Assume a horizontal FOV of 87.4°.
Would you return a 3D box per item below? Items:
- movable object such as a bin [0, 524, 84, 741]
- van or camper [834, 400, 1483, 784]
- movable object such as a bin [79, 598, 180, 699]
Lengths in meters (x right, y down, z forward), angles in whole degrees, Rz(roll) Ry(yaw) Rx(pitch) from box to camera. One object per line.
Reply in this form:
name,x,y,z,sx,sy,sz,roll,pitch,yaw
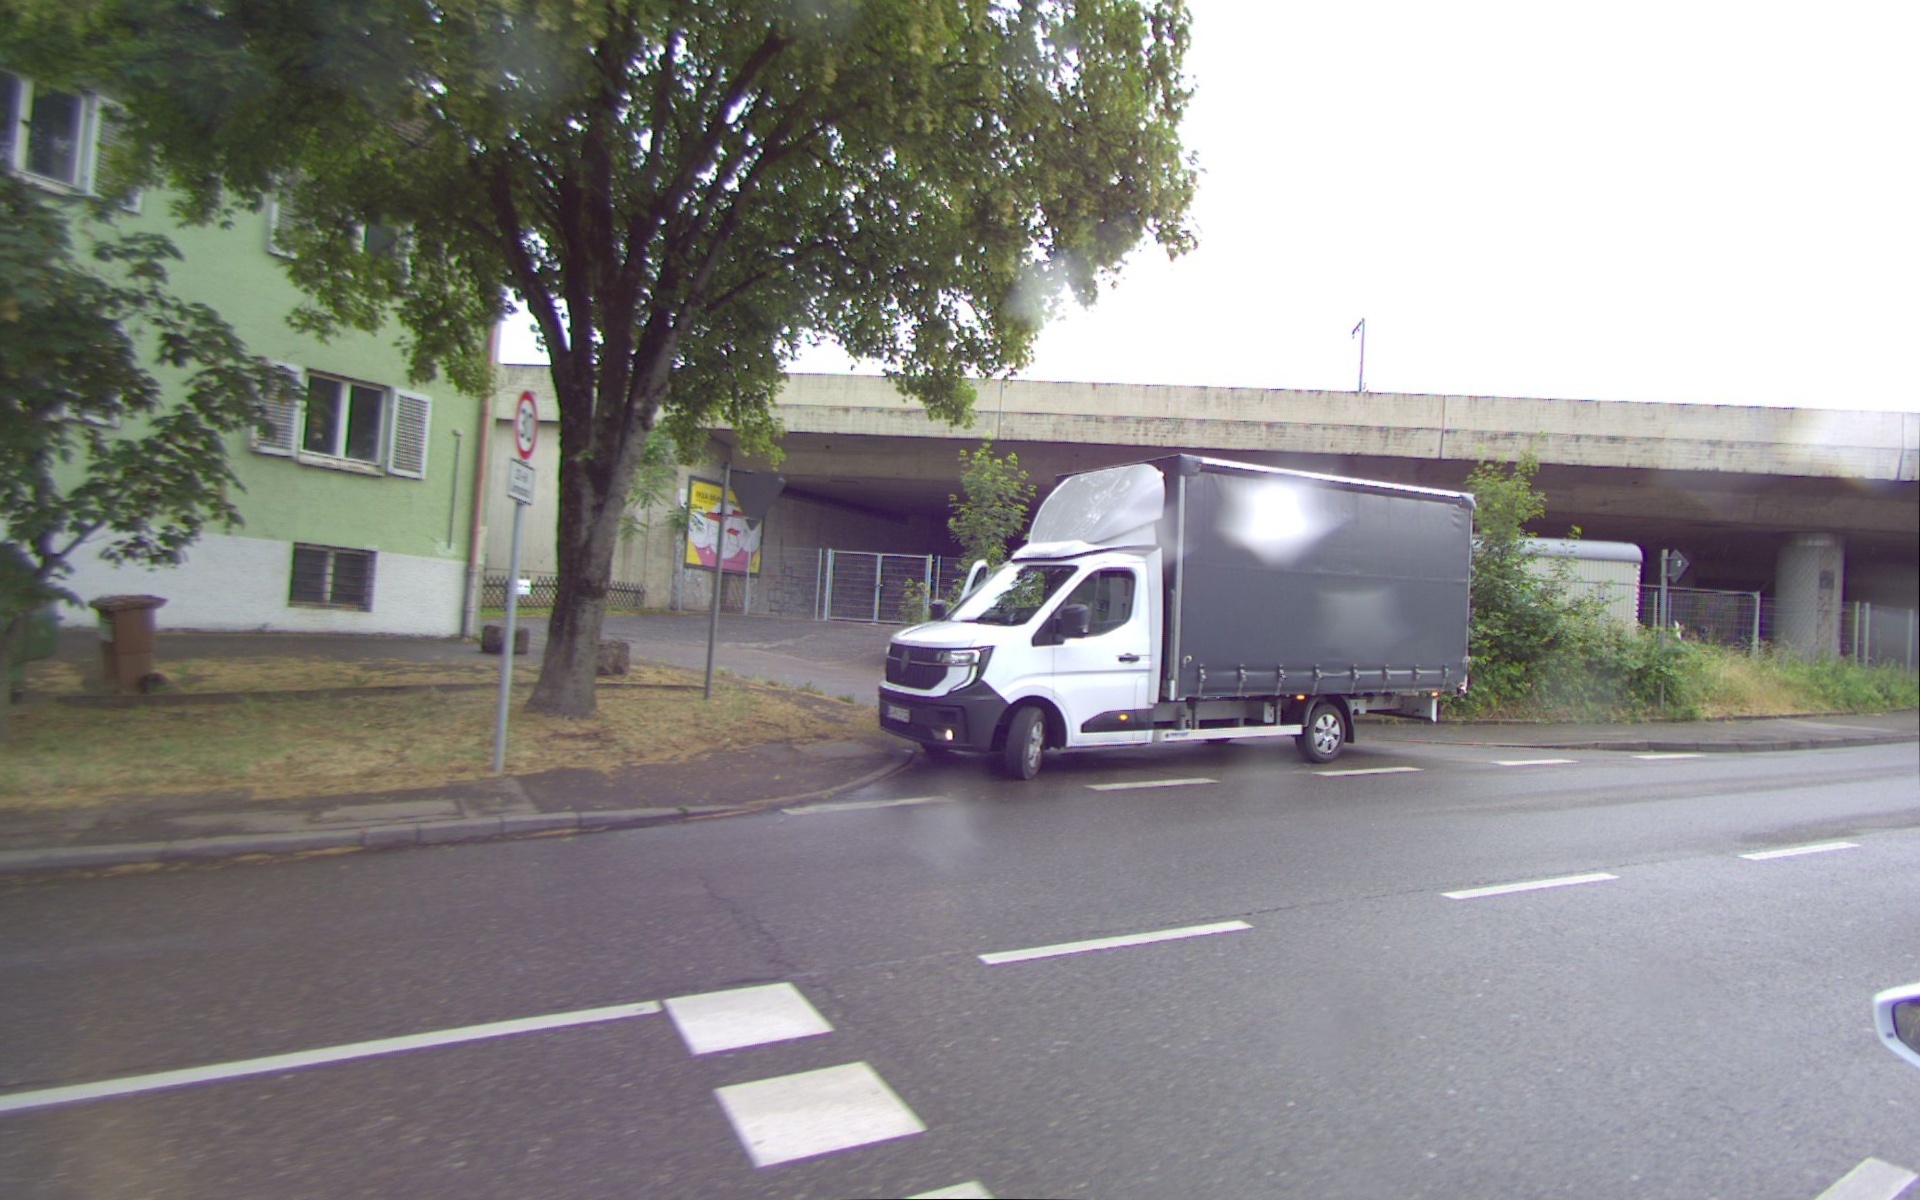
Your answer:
movable object such as a bin,-8.661,0.248,8.398,1.547,1.785,1.453,2,2,21
van or camper,2.618,0.074,11.939,7.671,3.379,2.685,3,-1,-30
movable object such as a bin,-8.072,0.455,9.770,0.531,0.922,0.562,2,2,21
